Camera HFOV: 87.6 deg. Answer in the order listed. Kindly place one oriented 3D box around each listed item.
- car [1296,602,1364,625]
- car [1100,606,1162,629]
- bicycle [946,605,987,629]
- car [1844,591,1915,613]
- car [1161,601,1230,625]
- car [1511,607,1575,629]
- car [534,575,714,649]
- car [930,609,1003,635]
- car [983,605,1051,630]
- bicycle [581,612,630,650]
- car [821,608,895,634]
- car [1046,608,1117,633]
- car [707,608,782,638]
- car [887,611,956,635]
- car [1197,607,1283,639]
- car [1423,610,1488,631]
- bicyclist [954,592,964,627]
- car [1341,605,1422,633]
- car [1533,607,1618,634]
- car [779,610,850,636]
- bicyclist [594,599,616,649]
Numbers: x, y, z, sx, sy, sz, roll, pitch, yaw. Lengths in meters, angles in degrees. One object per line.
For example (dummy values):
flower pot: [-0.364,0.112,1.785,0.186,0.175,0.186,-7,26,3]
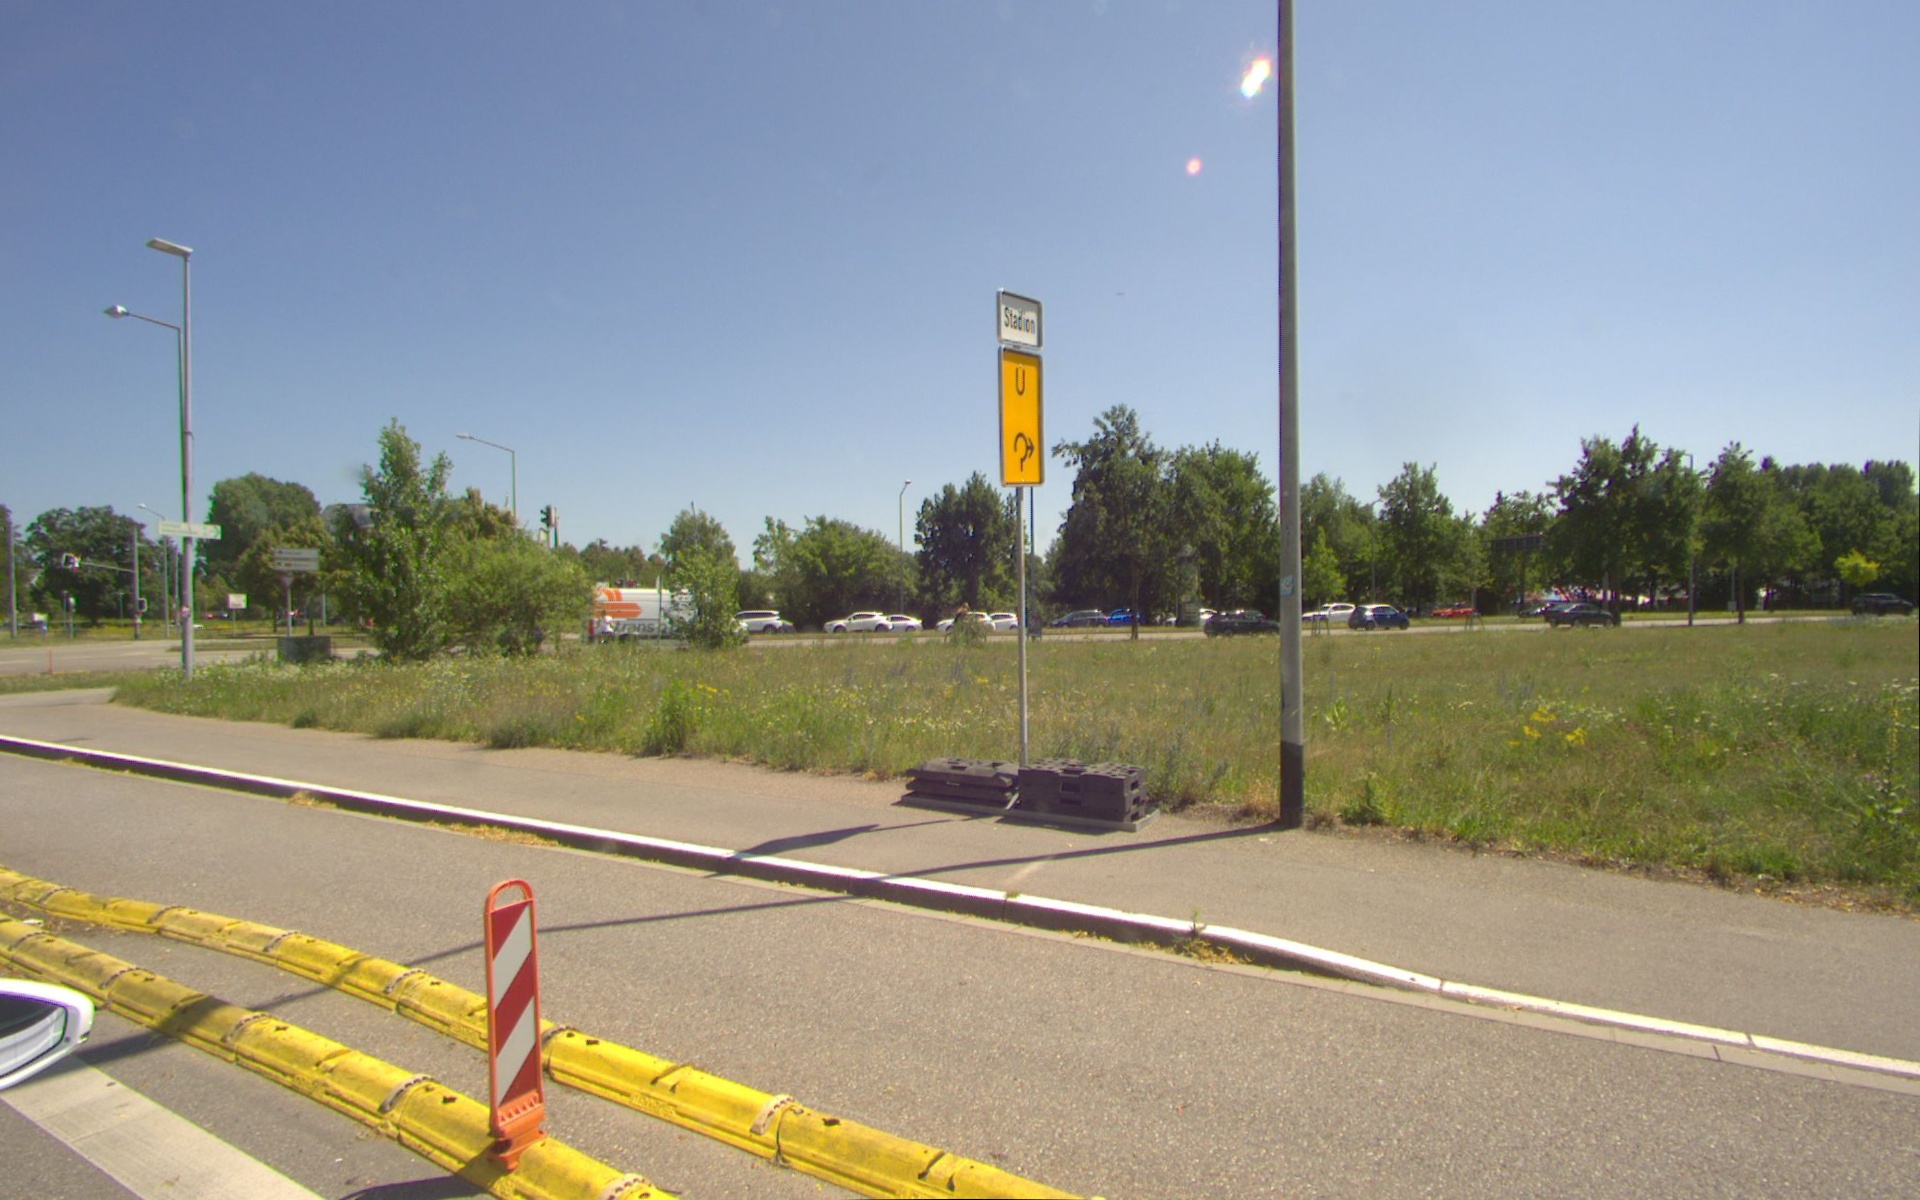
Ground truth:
car: [26.578,0.969,72.037,4.366,1.612,1.846,0,-2,-17]
car: [12.174,1.252,71.349,3.927,1.558,1.764,0,-2,-14]
bicycle: [0.249,0.659,38.523,1.564,0.895,0.369,0,-1,-10]
car: [67.363,0.127,73.358,4.344,1.617,1.994,0,1,-20]
car: [16.308,0.916,69.383,4.365,1.612,1.846,0,-2,-16]
car: [45.641,1.428,78.421,4.365,1.612,1.846,0,-2,-16]
car: [-13.776,0.543,41.273,6.786,2.864,1.990,1,-2,-30]
car: [0.400,1.435,64.865,4.365,1.612,1.846,0,-2,-16]
car: [3.951,1.197,69.235,4.365,1.613,1.845,0,0,-16]
bicycle: [-13.145,1.169,37.211,0.628,1.370,2.896,0,-2,4]
car: [-6.416,1.318,62.891,4.365,1.612,1.846,0,-2,-16]
car: [8.101,1.356,66.808,4.365,1.612,1.846,0,-2,-16]
car: [-13.032,1.421,60.515,4.365,1.758,1.846,0,-2,-16]
car: [-2.580,1.554,66.940,4.365,1.612,1.846,0,-2,-16]
car: [14.358,1.188,51.438,3.931,1.573,1.723,1,1,-19]
car: [37.614,1.564,75.988,4.337,1.612,1.846,0,-2,-16]
bicyclist: [-0.039,0.362,38.471,0.349,1.336,0.379,0,-1,-9]
car: [25.593,1.119,60.792,4.344,1.617,1.994,0,1,-20]
car: [37.233,1.220,60.608,4.340,1.617,1.996,0,1,-16]
car: [-9.422,1.495,64.860,4.365,1.612,1.846,0,-2,-16]
bicyclist: [-13.154,0.898,37.155,0.597,1.864,0.572,0,-1,2]
